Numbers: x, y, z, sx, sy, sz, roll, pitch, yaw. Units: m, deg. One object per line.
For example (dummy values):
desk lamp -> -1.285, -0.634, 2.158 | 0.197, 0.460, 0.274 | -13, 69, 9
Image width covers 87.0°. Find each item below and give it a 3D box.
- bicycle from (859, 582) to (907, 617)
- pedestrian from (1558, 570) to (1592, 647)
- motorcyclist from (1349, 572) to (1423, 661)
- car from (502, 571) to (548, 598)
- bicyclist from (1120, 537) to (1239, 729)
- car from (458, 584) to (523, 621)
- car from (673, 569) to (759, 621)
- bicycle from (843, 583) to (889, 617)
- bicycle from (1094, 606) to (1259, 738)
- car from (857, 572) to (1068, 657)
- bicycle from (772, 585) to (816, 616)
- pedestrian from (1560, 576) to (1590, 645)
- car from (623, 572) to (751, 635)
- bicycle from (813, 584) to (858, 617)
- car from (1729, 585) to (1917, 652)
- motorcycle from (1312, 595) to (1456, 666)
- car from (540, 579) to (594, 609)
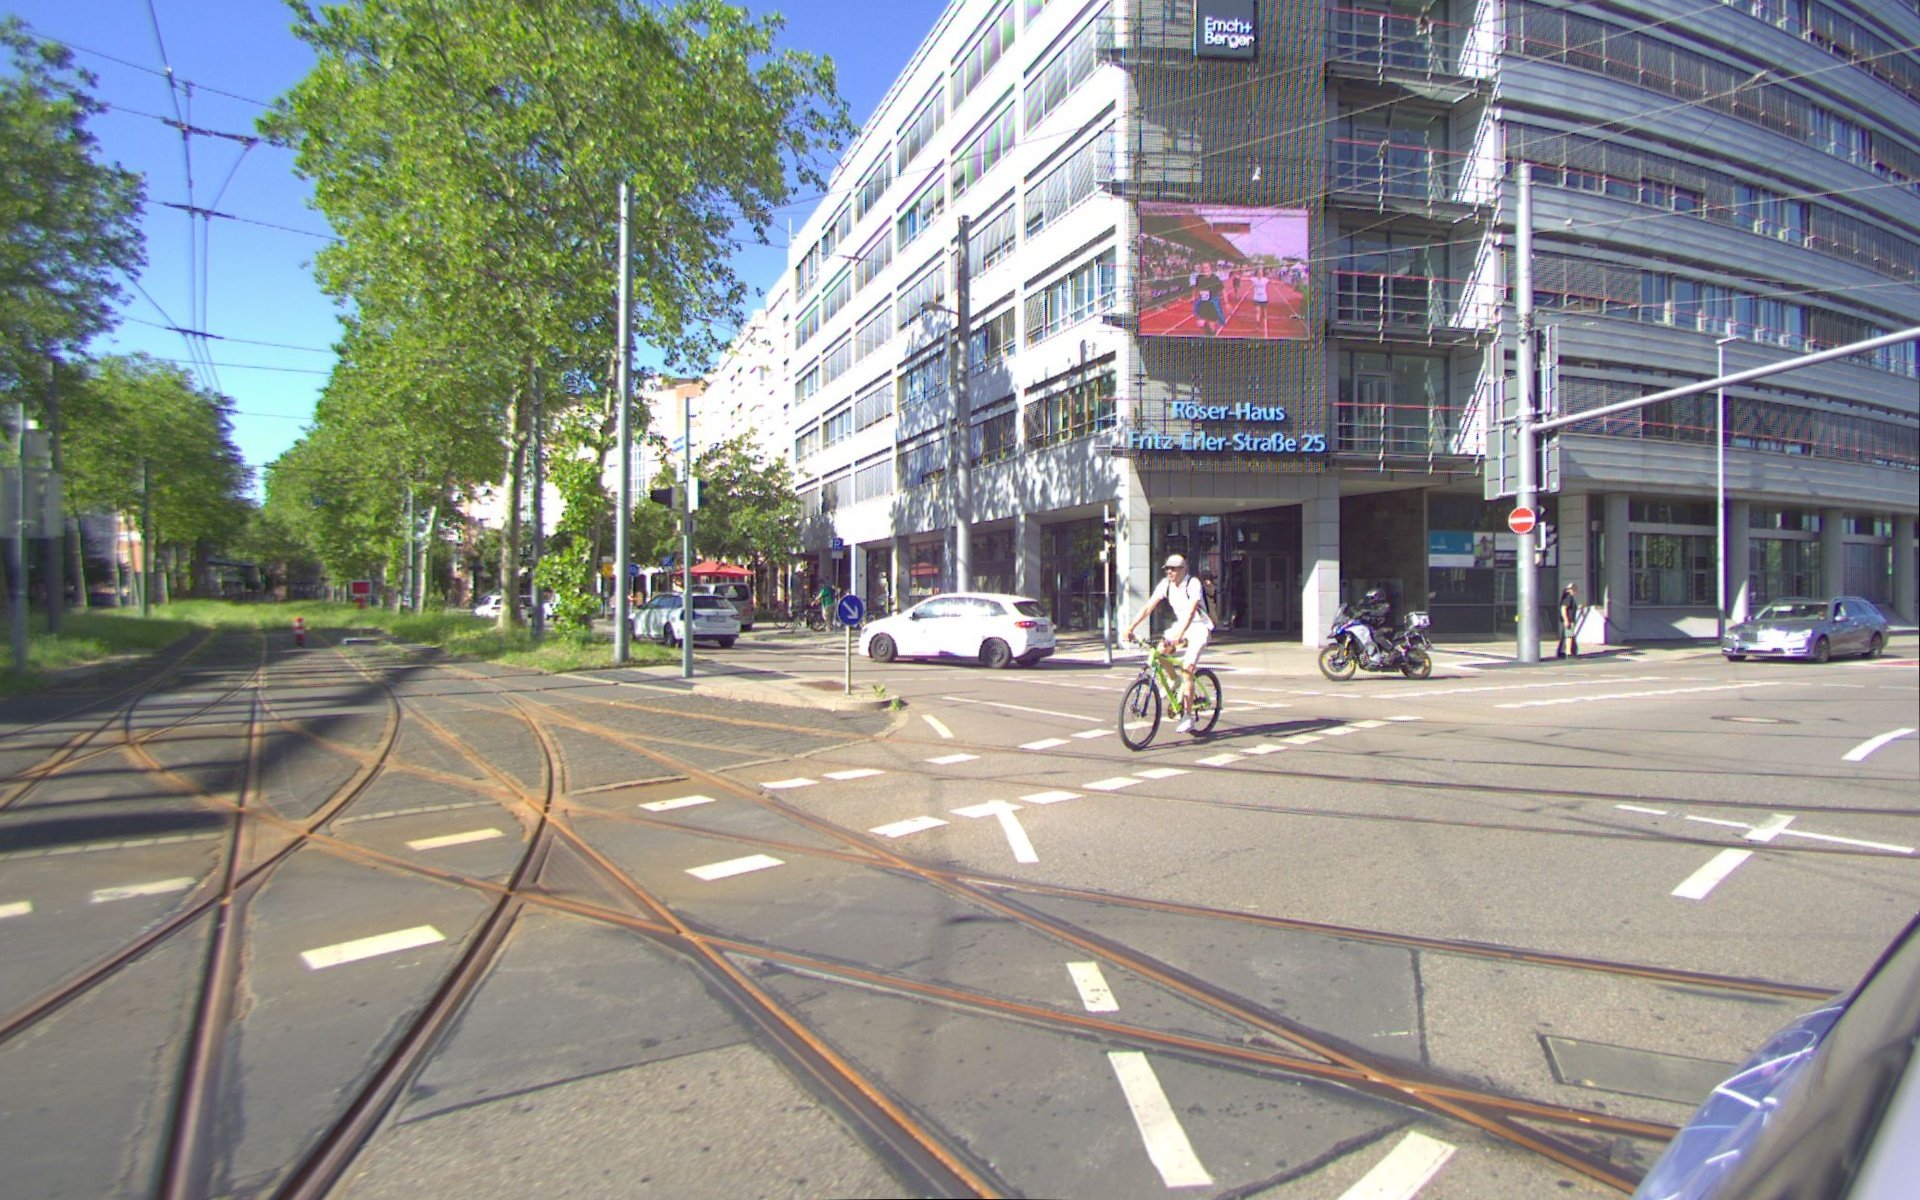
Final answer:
bicycle -> -2.818, -0.036, 37.123 | 1.696, 1.235, 0.469 | -1, 1, -31
pedestrian -> 14.720, 0.190, 24.241 | 0.603, 1.820, 0.633 | 2, 1, 28
motorcyclist -> 7.836, 0.293, 18.645 | 0.922, 1.581, 0.833 | -1, 0, -11
car -> -29.347, -1.018, 68.204 | 1.877, 1.604, 3.996 | 1, -2, -38
bicyclist -> 2.166, 0.299, 9.952 | 1.027, 1.774, 0.650 | 0, 0, -40
car -> -21.861, 0.167, 47.031 | 1.877, 1.604, 3.996 | 1, -2, -38
car -> -9.529, -0.216, 39.366 | 1.786, 1.875, 4.390 | -2, 1, -34
bicycle -> -3.544, -0.023, 38.274 | 1.696, 1.235, 0.469 | -1, 1, -31
bicycle -> 2.152, 0.652, 9.942 | 1.727, 1.124, 0.650 | -2, 2, -40
car -> 0.037, 0.270, 21.642 | 4.100, 1.603, 1.893 | 2, 0, 28
bicycle -> -6.848, -0.001, 41.766 | 1.696, 1.235, 0.469 | -1, 1, -31
pedestrian -> 15.011, 0.250, 24.698 | 0.557, 1.666, 0.424 | 2, 1, 29
car -> -7.462, 0.131, 27.416 | 1.878, 1.561, 4.133 | 0, -1, -39
bicycle -> -4.808, -0.002, 39.114 | 1.696, 1.235, 0.469 | -1, 1, -31
car -> 20.388, 0.384, 23.880 | 4.690, 1.413, 1.729 | -1, 1, -27
motorcycle -> 7.819, 0.547, 18.687 | 2.341, 1.216, 0.833 | -1, 0, -11
car -> -23.070, -0.304, 59.323 | 1.877, 1.604, 3.996 | 1, -2, -38
